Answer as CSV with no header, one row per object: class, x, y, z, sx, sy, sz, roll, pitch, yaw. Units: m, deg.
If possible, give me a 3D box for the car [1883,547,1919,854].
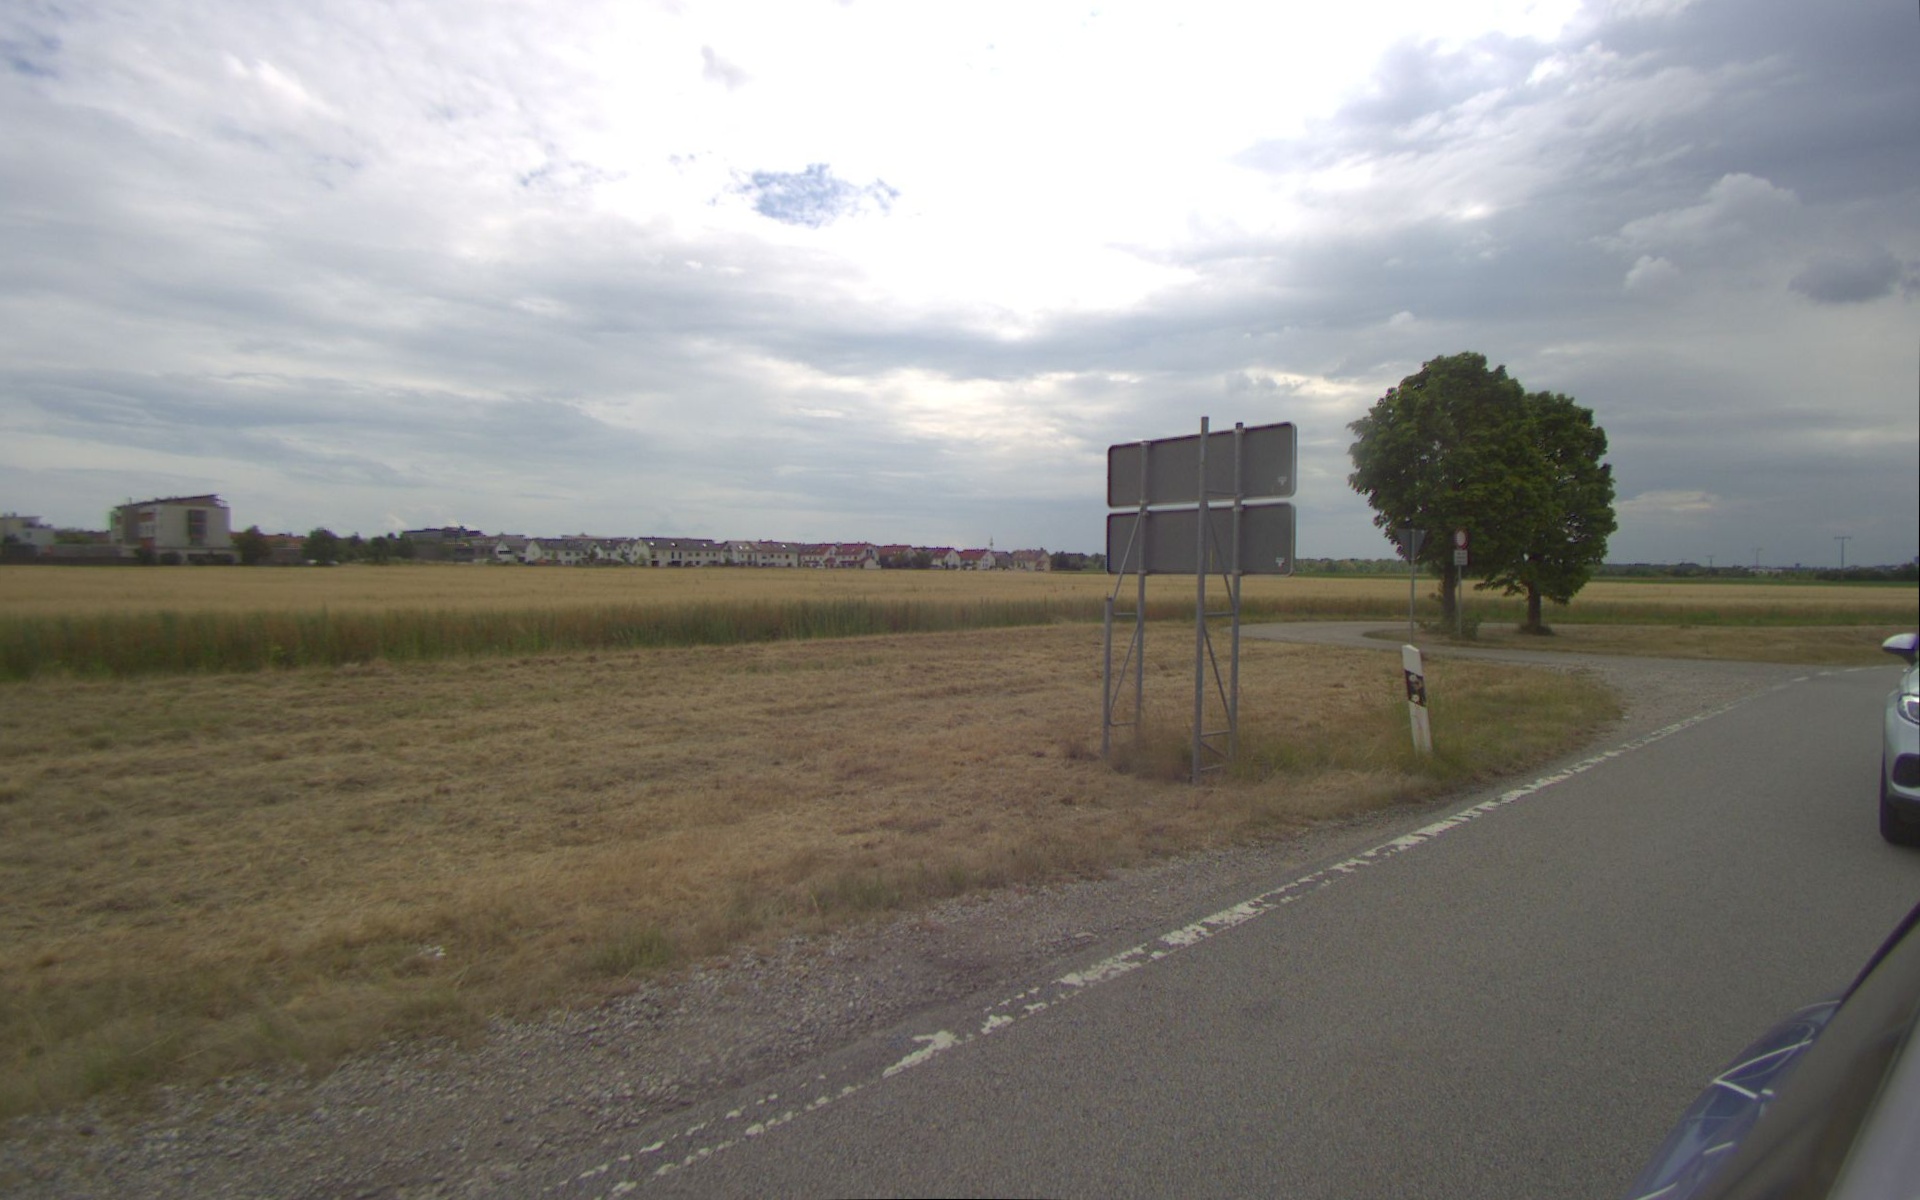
car,7.148,0.555,6.200,4.375,1.606,1.834,0,3,-43
